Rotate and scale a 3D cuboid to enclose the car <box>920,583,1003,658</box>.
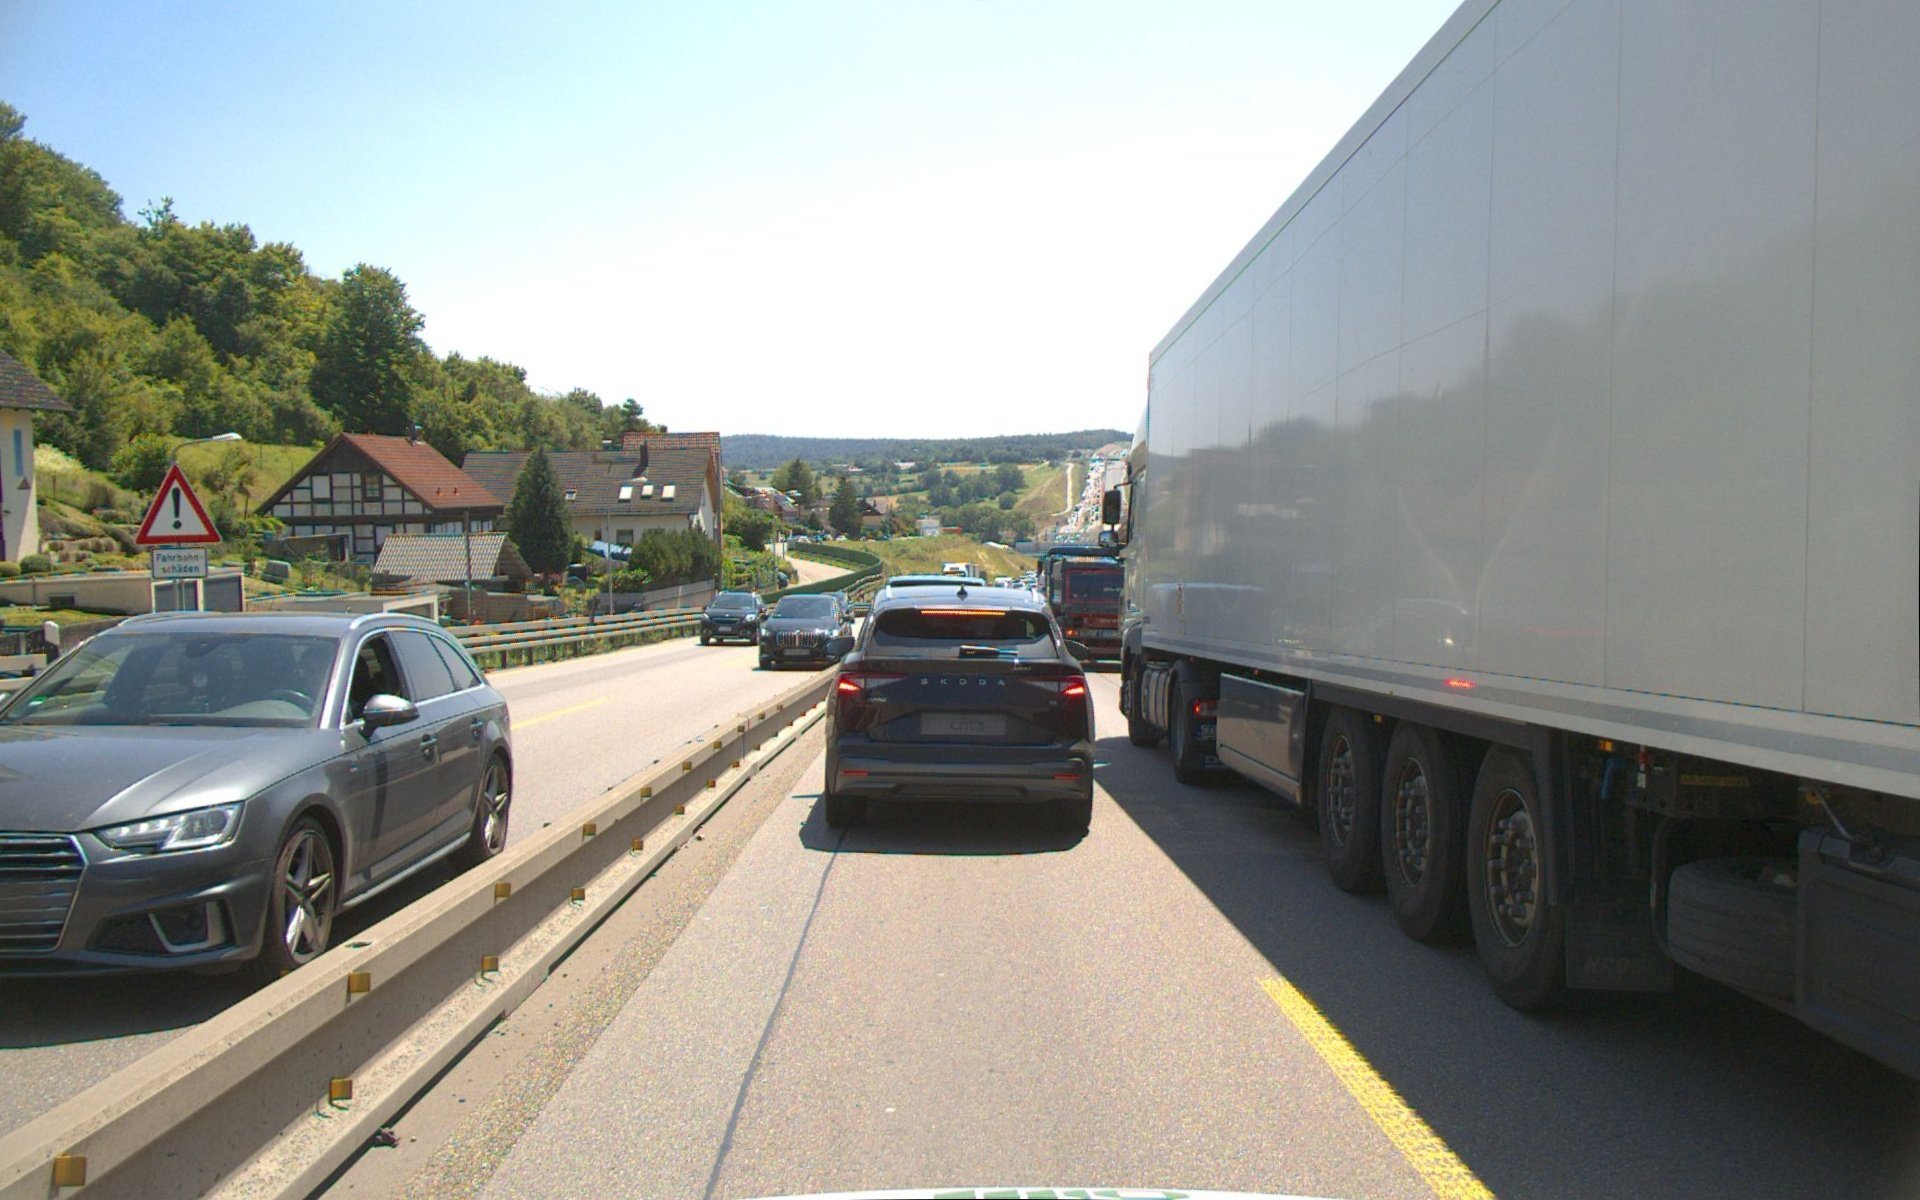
[{"bbox_3d":[-0.024,0.439,39.291,1.673,1.650,3.997,1,1,-4],"label":"car"}]

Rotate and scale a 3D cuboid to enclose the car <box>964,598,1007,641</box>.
[{"bbox_3d":[1.047,0.803,69.404,1.672,1.650,4.000,1,1,0],"label":"car"}]

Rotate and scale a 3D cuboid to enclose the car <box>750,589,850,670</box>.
[{"bbox_3d":[-3.507,0.659,36.876,1.782,1.614,4.158,3,-1,0],"label":"car"}]

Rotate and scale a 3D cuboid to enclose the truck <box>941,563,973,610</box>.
[{"bbox_3d":[-0.236,-1.283,158.229,2.694,4.358,4.959,1,0,3],"label":"truck"}]

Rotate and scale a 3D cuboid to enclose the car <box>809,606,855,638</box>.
[{"bbox_3d":[-5.921,1.040,77.075,1.803,1.443,4.686,-1,-1,0],"label":"car"}]

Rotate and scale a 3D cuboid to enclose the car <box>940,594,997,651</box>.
[{"bbox_3d":[0.244,0.681,52.245,1.672,1.650,4.000,1,1,0],"label":"car"}]

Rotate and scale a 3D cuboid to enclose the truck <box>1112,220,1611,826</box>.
[{"bbox_3d":[3.136,-0.469,15.436,2.462,4.095,8.235,1,-1,-1],"label":"truck"}]

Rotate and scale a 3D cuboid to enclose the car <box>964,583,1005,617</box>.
[{"bbox_3d":[1.192,0.012,82.027,1.952,1.613,3.836,1,-1,1],"label":"car"}]

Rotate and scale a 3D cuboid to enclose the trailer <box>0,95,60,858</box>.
[{"bbox_3d":[-7.119,-0.837,3.155,3.186,4.455,14.054,1,-1,-1],"label":"trailer"}]

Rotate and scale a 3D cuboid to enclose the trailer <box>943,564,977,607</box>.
[{"bbox_3d":[0.043,-1.452,163.113,2.699,4.141,8.012,1,1,4],"label":"trailer"}]

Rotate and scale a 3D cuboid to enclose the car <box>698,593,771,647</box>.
[{"bbox_3d":[-6.679,0.597,49.223,1.671,1.491,3.679,1,-1,-1],"label":"car"}]

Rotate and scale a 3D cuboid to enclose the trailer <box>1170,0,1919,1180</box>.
[{"bbox_3d":[3.255,-0.735,8.874,2.480,4.199,11.544,1,-1,-1],"label":"trailer"}]

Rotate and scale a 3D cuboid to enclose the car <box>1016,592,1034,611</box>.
[{"bbox_3d":[6.386,0.122,162.382,1.665,1.758,3.838,1,-1,4],"label":"car"}]

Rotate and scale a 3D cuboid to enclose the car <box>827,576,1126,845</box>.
[{"bbox_3d":[-0.022,0.708,12.070,1.806,1.614,3.904,1,-1,-4],"label":"car"}]

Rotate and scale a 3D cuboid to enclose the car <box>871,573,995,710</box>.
[{"bbox_3d":[-0.482,0.571,25.518,1.673,1.914,3.997,1,1,-4],"label":"car"}]

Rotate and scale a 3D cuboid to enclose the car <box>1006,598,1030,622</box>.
[{"bbox_3d":[4.464,0.792,126.651,1.665,1.758,3.838,1,-1,4],"label":"car"}]

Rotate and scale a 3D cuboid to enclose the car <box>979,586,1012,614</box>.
[{"bbox_3d":[2.176,0.012,101.336,1.952,1.613,3.836,1,-1,1],"label":"car"}]

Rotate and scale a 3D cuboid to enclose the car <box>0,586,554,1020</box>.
[{"bbox_3d":[-3.376,0.730,7.983,1.754,1.478,4.633,0,-1,-1],"label":"car"}]

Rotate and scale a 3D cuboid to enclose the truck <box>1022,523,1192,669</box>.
[{"bbox_3d":[3.550,0.005,43.497,3.130,3.247,12.805,1,-1,-1],"label":"truck"}]
